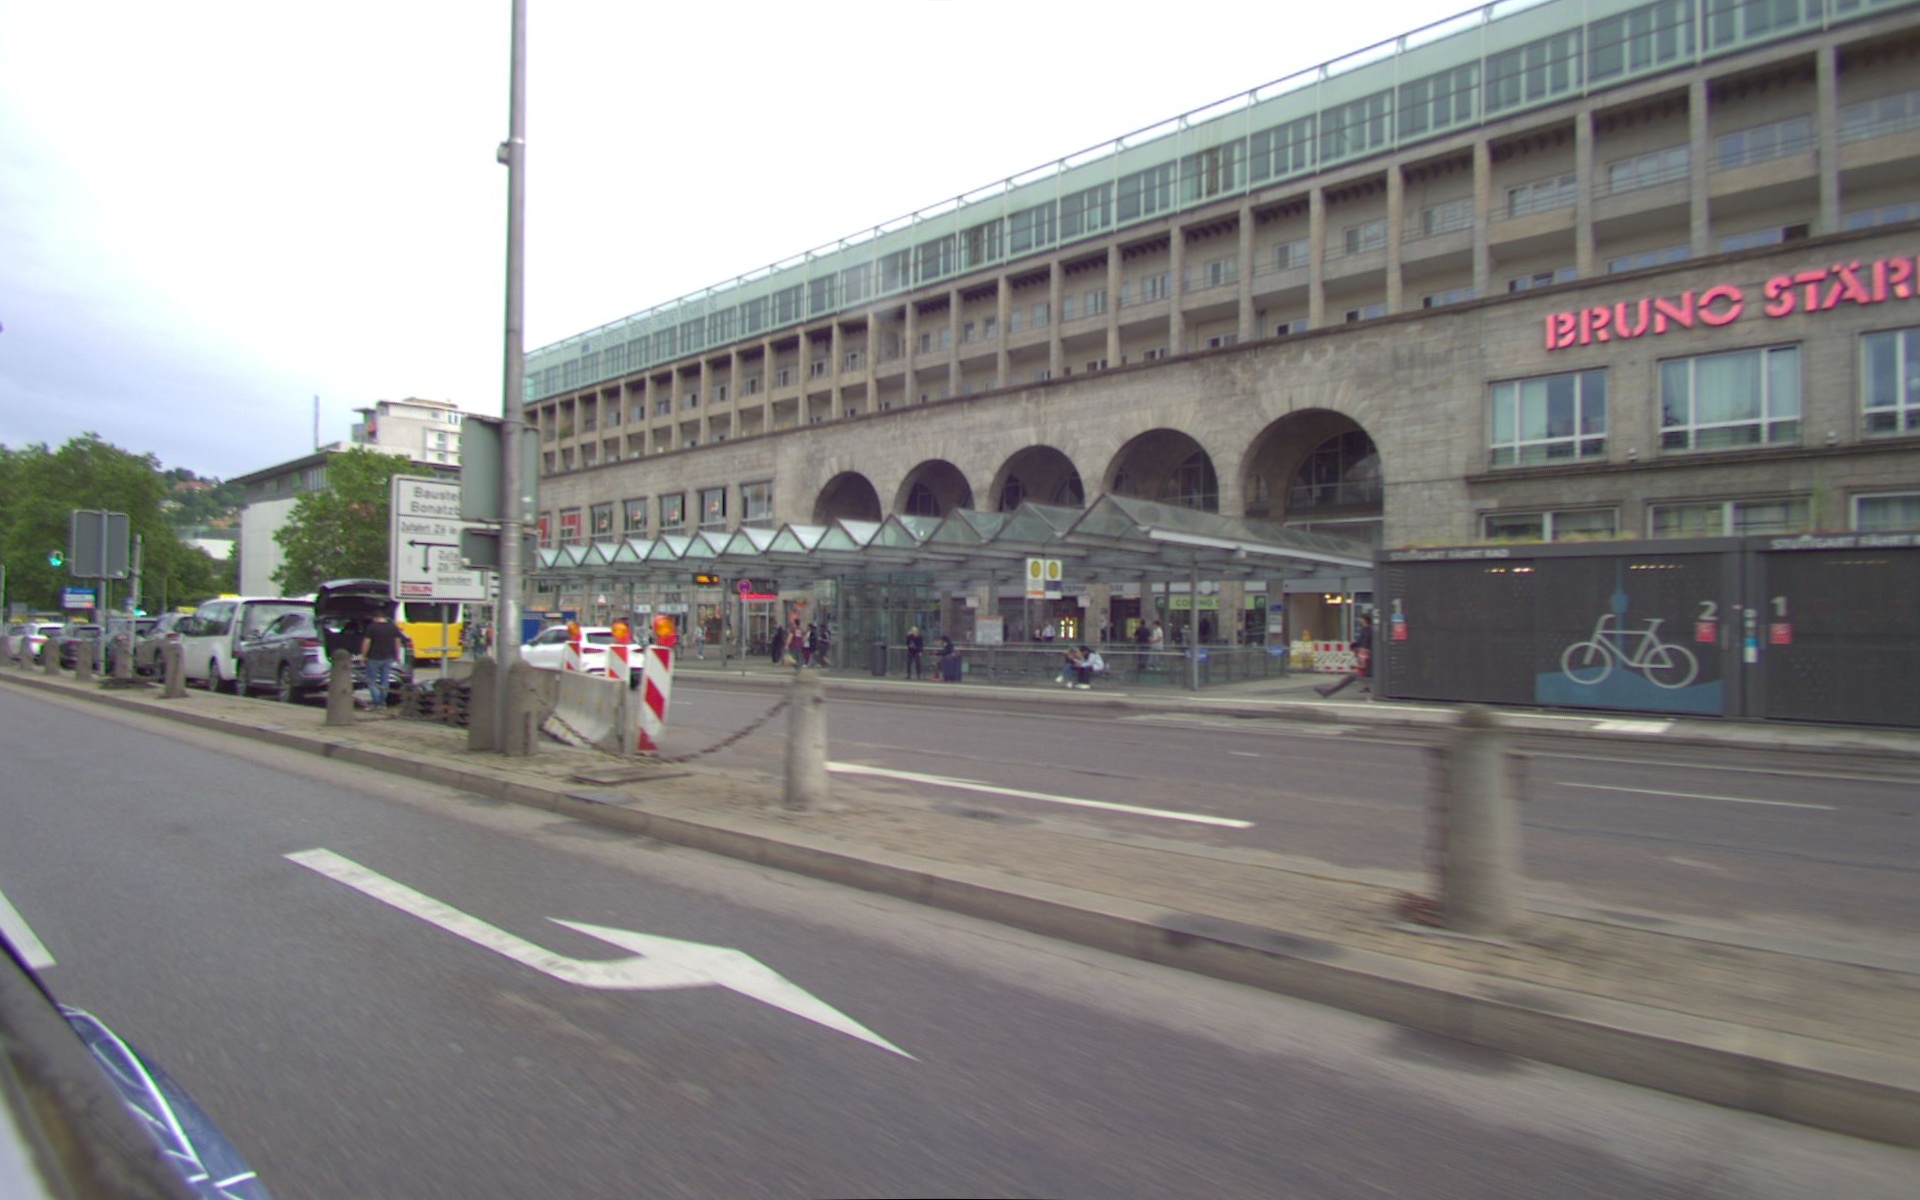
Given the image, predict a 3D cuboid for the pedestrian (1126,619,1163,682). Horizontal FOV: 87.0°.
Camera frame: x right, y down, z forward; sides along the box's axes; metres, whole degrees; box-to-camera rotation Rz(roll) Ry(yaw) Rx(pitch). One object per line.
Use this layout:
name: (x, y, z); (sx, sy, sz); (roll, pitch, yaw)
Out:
pedestrian: (6.333, 1.728, 34.725); (0.759, 2.142, 0.980); (2, -3, -42)

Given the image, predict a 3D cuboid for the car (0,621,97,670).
car: (-33.190, 1.632, 36.639); (5.186, 1.672, 1.957); (-1, -4, 39)

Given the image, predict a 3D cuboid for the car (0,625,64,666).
car: (-37.850, 1.810, 40.647); (5.006, 1.589, 1.911); (-1, -4, 39)

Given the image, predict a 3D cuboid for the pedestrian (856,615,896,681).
pedestrian: (-2.660, 1.509, 31.957); (0.960, 2.029, 0.833); (-2, -3, 40)

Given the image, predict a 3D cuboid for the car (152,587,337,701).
car: (-15.713, 0.937, 22.087); (5.540, 2.195, 1.973); (-2, -3, 41)

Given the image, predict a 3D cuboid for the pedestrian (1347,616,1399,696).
pedestrian: (9.956, 1.338, 24.415); (0.930, 1.870, 0.712); (-2, -1, 40)

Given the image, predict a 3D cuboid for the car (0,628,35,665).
car: (-42.740, 2.017, 44.731); (5.255, 1.589, 1.911); (-1, -4, 39)

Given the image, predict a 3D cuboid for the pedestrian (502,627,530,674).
pedestrian: (-16.773, 1.893, 38.240); (0.855, 1.738, 0.617); (-2, -2, 40)

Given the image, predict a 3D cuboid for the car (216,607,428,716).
car: (-11.715, 1.066, 18.458); (4.779, 1.735, 1.973); (-2, -3, 41)

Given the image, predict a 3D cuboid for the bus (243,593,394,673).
bus: (-30.312, 1.579, 47.570); (10.565, 3.402, 2.848); (-2, -3, 40)

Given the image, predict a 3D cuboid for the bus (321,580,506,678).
bus: (-22.168, 1.199, 40.695); (10.565, 3.486, 2.848); (-2, -2, 40)

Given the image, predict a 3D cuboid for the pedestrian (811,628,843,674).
pedestrian: (-4.962, 1.891, 37.795); (0.894, 1.668, 0.748); (-2, -2, 42)

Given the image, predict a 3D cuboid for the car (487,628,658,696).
car: (-9.980, 1.573, 25.905); (4.831, 1.576, 1.942); (-2, -5, 40)

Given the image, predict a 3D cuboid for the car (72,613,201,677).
car: (-23.804, 1.290, 29.197); (4.880, 1.712, 1.910); (-1, -4, 39)

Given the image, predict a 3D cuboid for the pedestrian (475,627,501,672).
pedestrian: (-18.824, 1.970, 40.392); (0.855, 1.738, 0.617); (-2, -2, 40)

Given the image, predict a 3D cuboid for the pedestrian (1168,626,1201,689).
pedestrian: (7.471, 1.915, 33.693); (0.771, 2.057, 0.795); (-2, -3, 42)

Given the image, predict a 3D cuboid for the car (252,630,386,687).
car: (-19.146, 1.751, 30.160); (4.831, 1.576, 1.942); (-2, -5, 40)

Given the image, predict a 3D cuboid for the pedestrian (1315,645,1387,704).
pedestrian: (8.234, 1.558, 21.322); (1.260, 1.191, 0.574); (-2, -1, 40)

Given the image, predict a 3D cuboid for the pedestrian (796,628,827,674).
pedestrian: (-5.634, 1.926, 38.407); (0.894, 1.668, 0.748); (-2, -2, 42)

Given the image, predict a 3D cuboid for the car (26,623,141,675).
car: (-28.633, 1.577, 33.004); (5.046, 1.589, 1.911); (-1, -4, 39)

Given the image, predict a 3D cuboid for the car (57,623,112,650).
car: (-58.067, 2.431, 67.092); (4.677, 1.703, 1.911); (-1, -4, 39)

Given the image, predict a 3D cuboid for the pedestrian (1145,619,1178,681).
pedestrian: (7.060, 1.748, 35.451); (0.759, 2.142, 0.807); (2, -3, -42)

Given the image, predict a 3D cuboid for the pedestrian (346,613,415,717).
pedestrian: (-9.618, 1.062, 16.797); (0.763, 1.665, 0.752); (-2, -3, 40)

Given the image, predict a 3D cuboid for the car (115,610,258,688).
car: (-19.765, 1.226, 25.800); (4.579, 1.820, 1.910); (-1, -4, 40)
